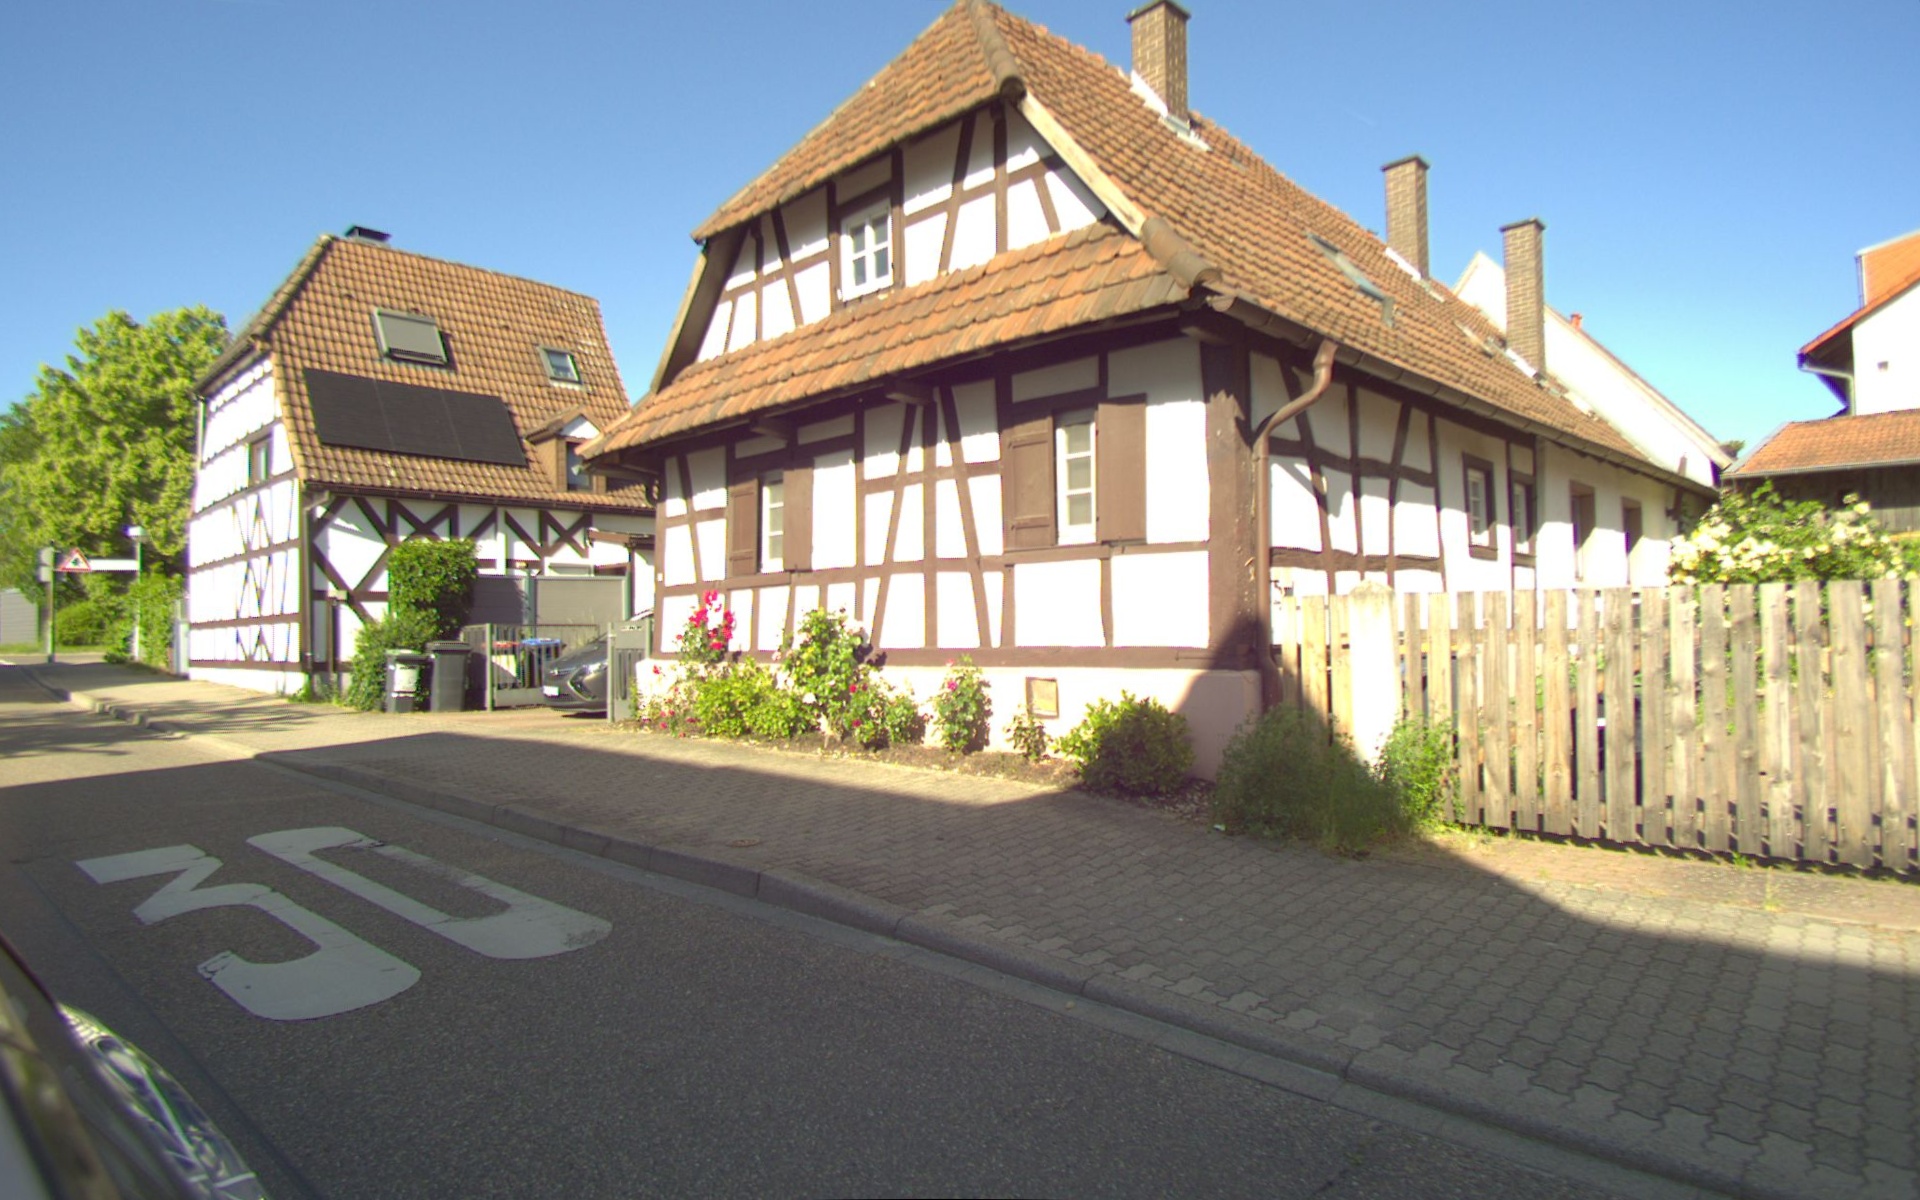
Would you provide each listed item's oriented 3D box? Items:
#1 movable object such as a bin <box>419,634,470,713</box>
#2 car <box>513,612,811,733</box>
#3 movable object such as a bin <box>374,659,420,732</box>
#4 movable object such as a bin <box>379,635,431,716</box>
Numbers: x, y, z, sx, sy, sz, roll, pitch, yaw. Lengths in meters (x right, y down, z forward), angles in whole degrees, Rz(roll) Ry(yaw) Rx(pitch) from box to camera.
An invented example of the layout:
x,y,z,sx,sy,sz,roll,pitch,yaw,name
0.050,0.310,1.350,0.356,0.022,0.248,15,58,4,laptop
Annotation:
x,y,z,sx,sy,sz,roll,pitch,yaw,name
-7.779,1.100,15.281,0.667,1.149,0.471,-1,-2,42,movable object such as a bin
-4.481,1.035,15.655,1.819,1.604,4.059,0,-2,42,car
-8.258,1.389,14.850,0.592,0.990,0.418,2,1,42,movable object such as a bin
-8.151,1.093,14.859,0.667,1.149,0.471,-1,-2,42,movable object such as a bin
